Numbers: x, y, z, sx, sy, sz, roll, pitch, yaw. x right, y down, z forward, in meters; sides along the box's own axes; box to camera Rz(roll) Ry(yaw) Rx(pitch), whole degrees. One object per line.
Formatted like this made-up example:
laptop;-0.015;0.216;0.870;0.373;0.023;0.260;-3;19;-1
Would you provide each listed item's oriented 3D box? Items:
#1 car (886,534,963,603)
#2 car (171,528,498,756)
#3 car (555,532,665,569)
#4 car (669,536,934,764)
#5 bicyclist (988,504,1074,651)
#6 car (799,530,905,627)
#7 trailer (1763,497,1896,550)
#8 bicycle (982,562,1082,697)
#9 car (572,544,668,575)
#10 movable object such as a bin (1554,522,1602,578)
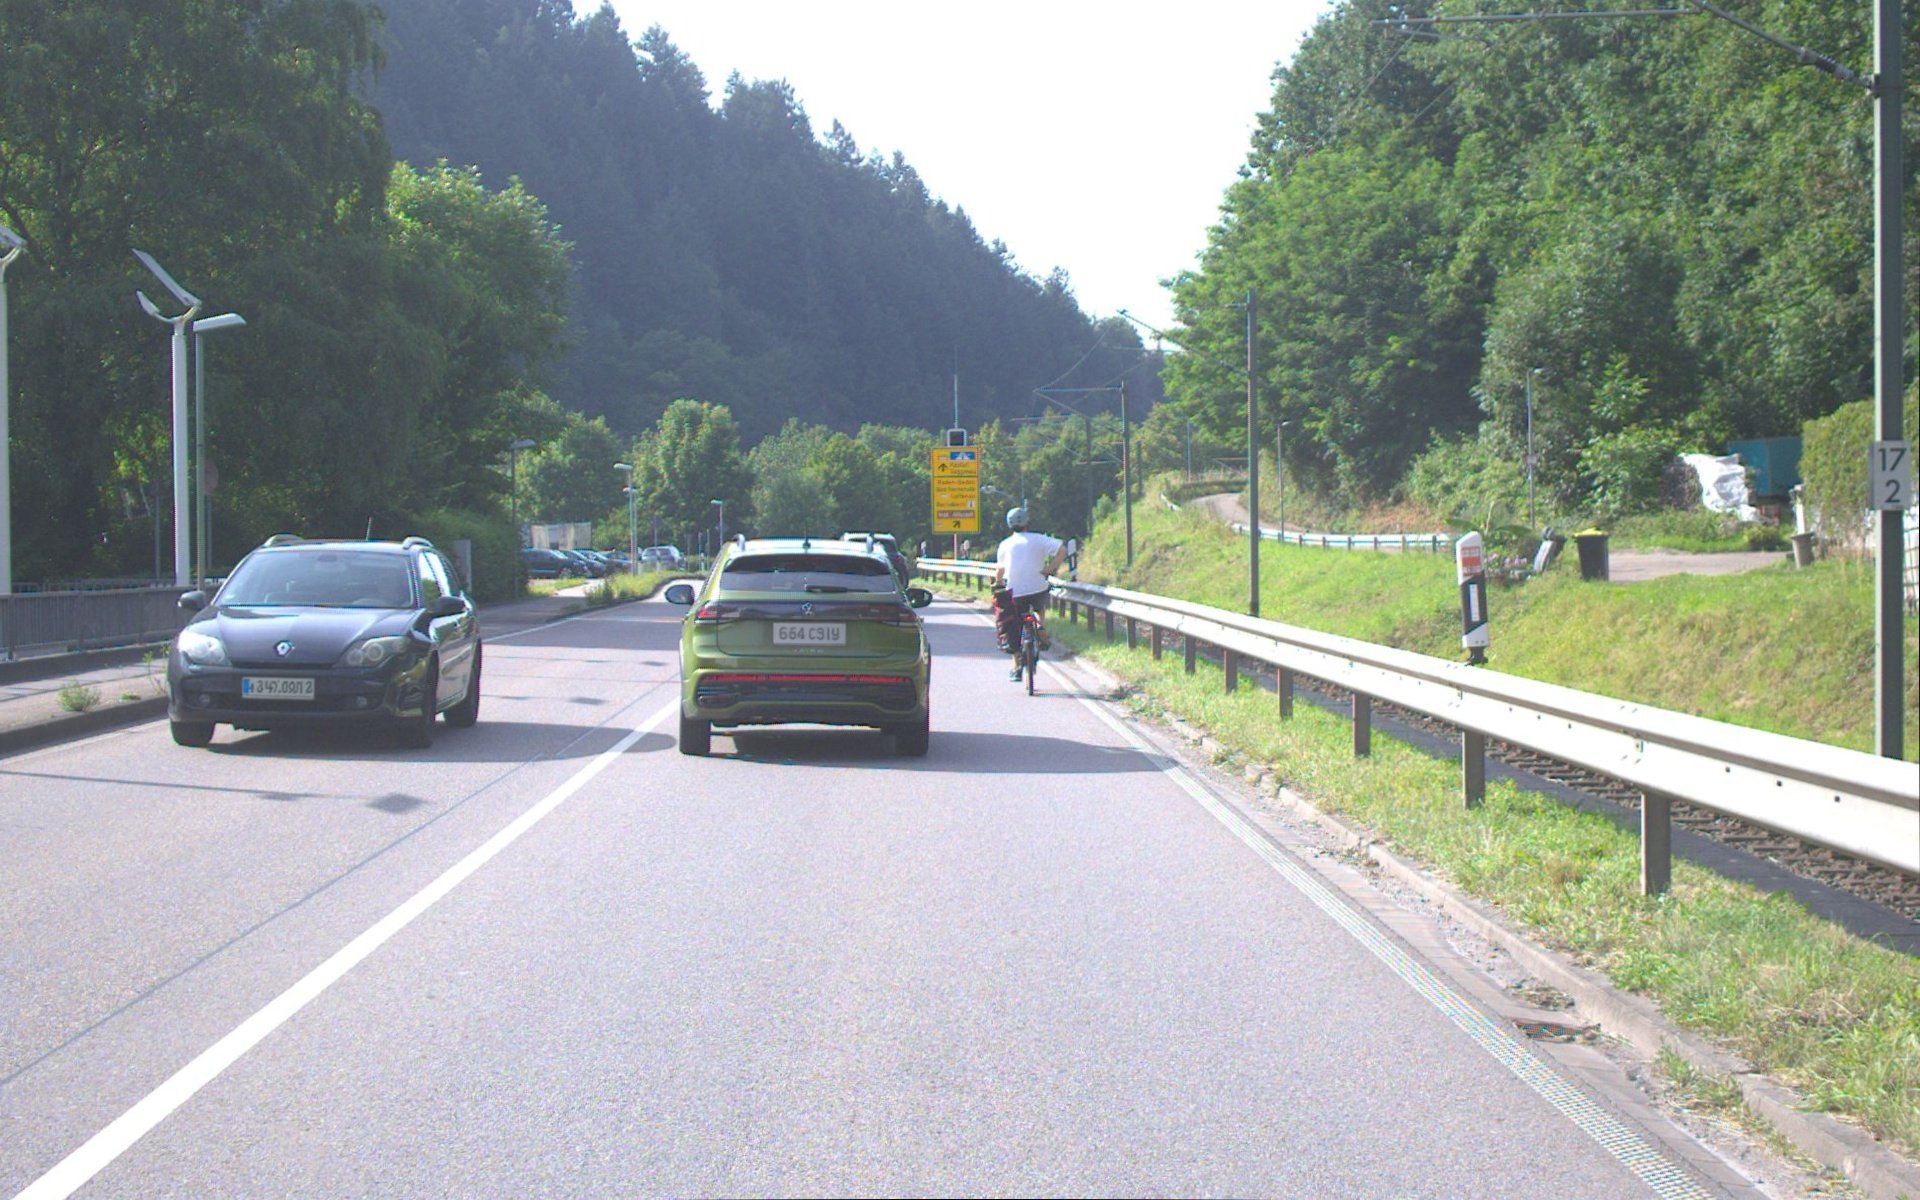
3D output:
car;-0.894;-0.796;84.093;1.739;1.596;4.001;-2;1;-2
car;-4.477;0.240;25.164;1.677;1.480;4.246;2;1;-1
car;-13.935;-1.977;136.990;4.259;1.428;1.557;0;1;0
car;-1.118;0.295;24.721;1.739;1.503;4.001;0;1;-2
bicyclist;0.683;-0.222;33.267;0.781;1.407;0.675;0;1;-3
car;-1.851;-0.395;58.807;1.739;1.596;4.001;1;1;-2
trailer;20.749;-1.810;82.182;2.066;1.188;3.715;1;1;-3
bicycle;0.680;0.266;33.271;0.811;1.246;2.123;0;1;-3
car;-15.630;-1.868;157.955;4.259;1.428;1.557;0;1;0
movable object such as a bin;12.227;-0.987;68.013;0.855;1.103;0.934;0;1;5
